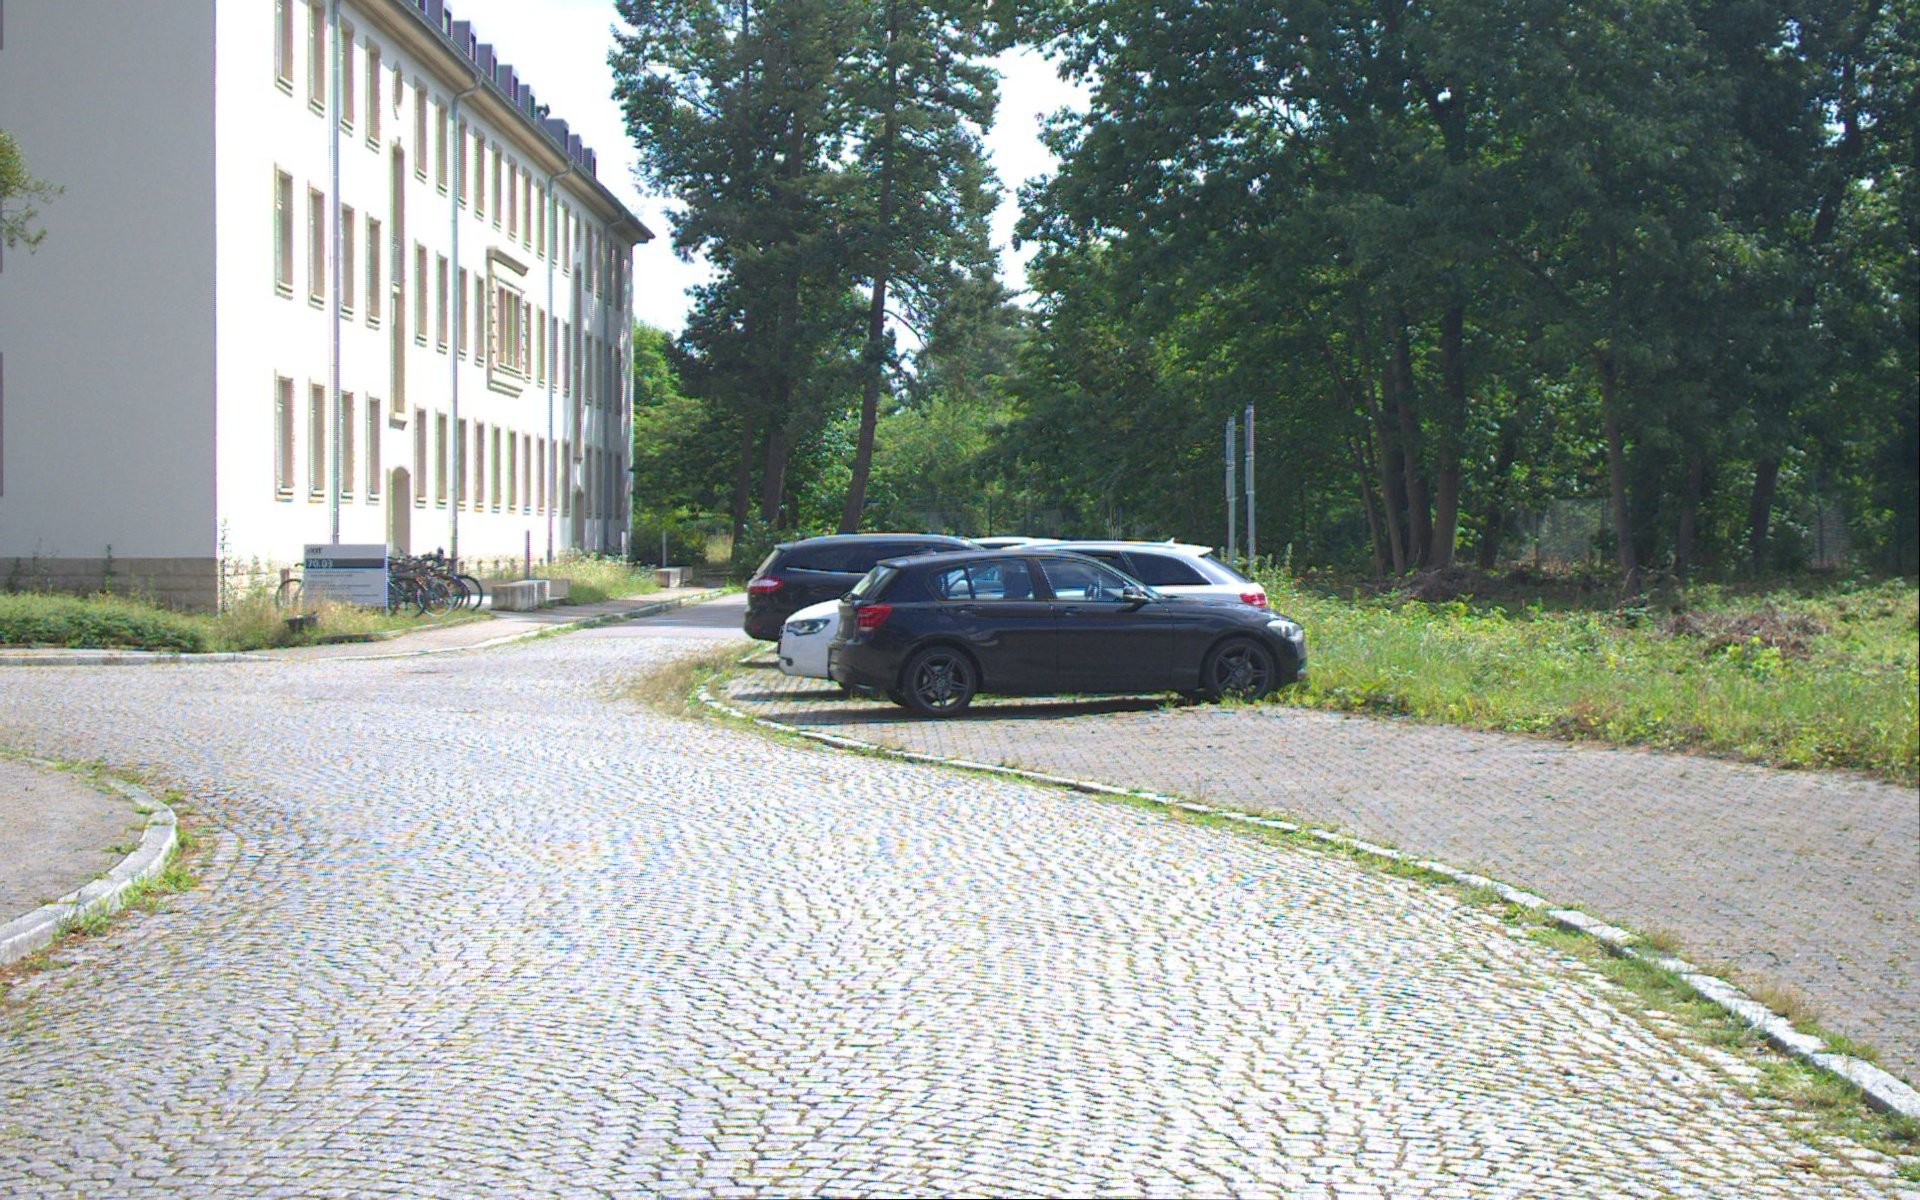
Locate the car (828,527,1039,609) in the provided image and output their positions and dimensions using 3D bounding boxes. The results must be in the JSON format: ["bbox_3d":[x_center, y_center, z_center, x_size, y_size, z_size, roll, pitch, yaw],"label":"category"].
[{"bbox_3d":[-0.512,-0.641,69.562,4.187,1.538,1.820,-1,0,2],"label":"car"}]

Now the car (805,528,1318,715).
[{"bbox_3d":[0.868,0.163,30.880,4.323,1.495,1.830,-2,2,-8],"label":"car"}]

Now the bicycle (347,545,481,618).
[{"bbox_3d":[-9.448,-0.320,59.521,2.222,1.256,0.623,0,1,2],"label":"bicycle"}]

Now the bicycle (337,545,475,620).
[{"bbox_3d":[-9.426,-0.303,58.512,2.222,1.256,0.623,0,1,2],"label":"bicycle"}]

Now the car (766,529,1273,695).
[{"bbox_3d":[0.554,0.094,34.082,4.861,1.467,1.875,-1,2,-1],"label":"car"}]

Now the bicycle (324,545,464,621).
[{"bbox_3d":[-9.467,-0.280,57.574,2.222,1.256,0.623,0,1,6],"label":"bicycle"}]

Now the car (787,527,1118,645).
[{"bbox_3d":[-0.115,-0.197,46.869,4.398,1.479,1.766,-1,0,-1],"label":"car"}]

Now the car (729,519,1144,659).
[{"bbox_3d":[-0.298,-0.141,41.434,4.852,1.547,1.880,-1,0,-1],"label":"car"}]
